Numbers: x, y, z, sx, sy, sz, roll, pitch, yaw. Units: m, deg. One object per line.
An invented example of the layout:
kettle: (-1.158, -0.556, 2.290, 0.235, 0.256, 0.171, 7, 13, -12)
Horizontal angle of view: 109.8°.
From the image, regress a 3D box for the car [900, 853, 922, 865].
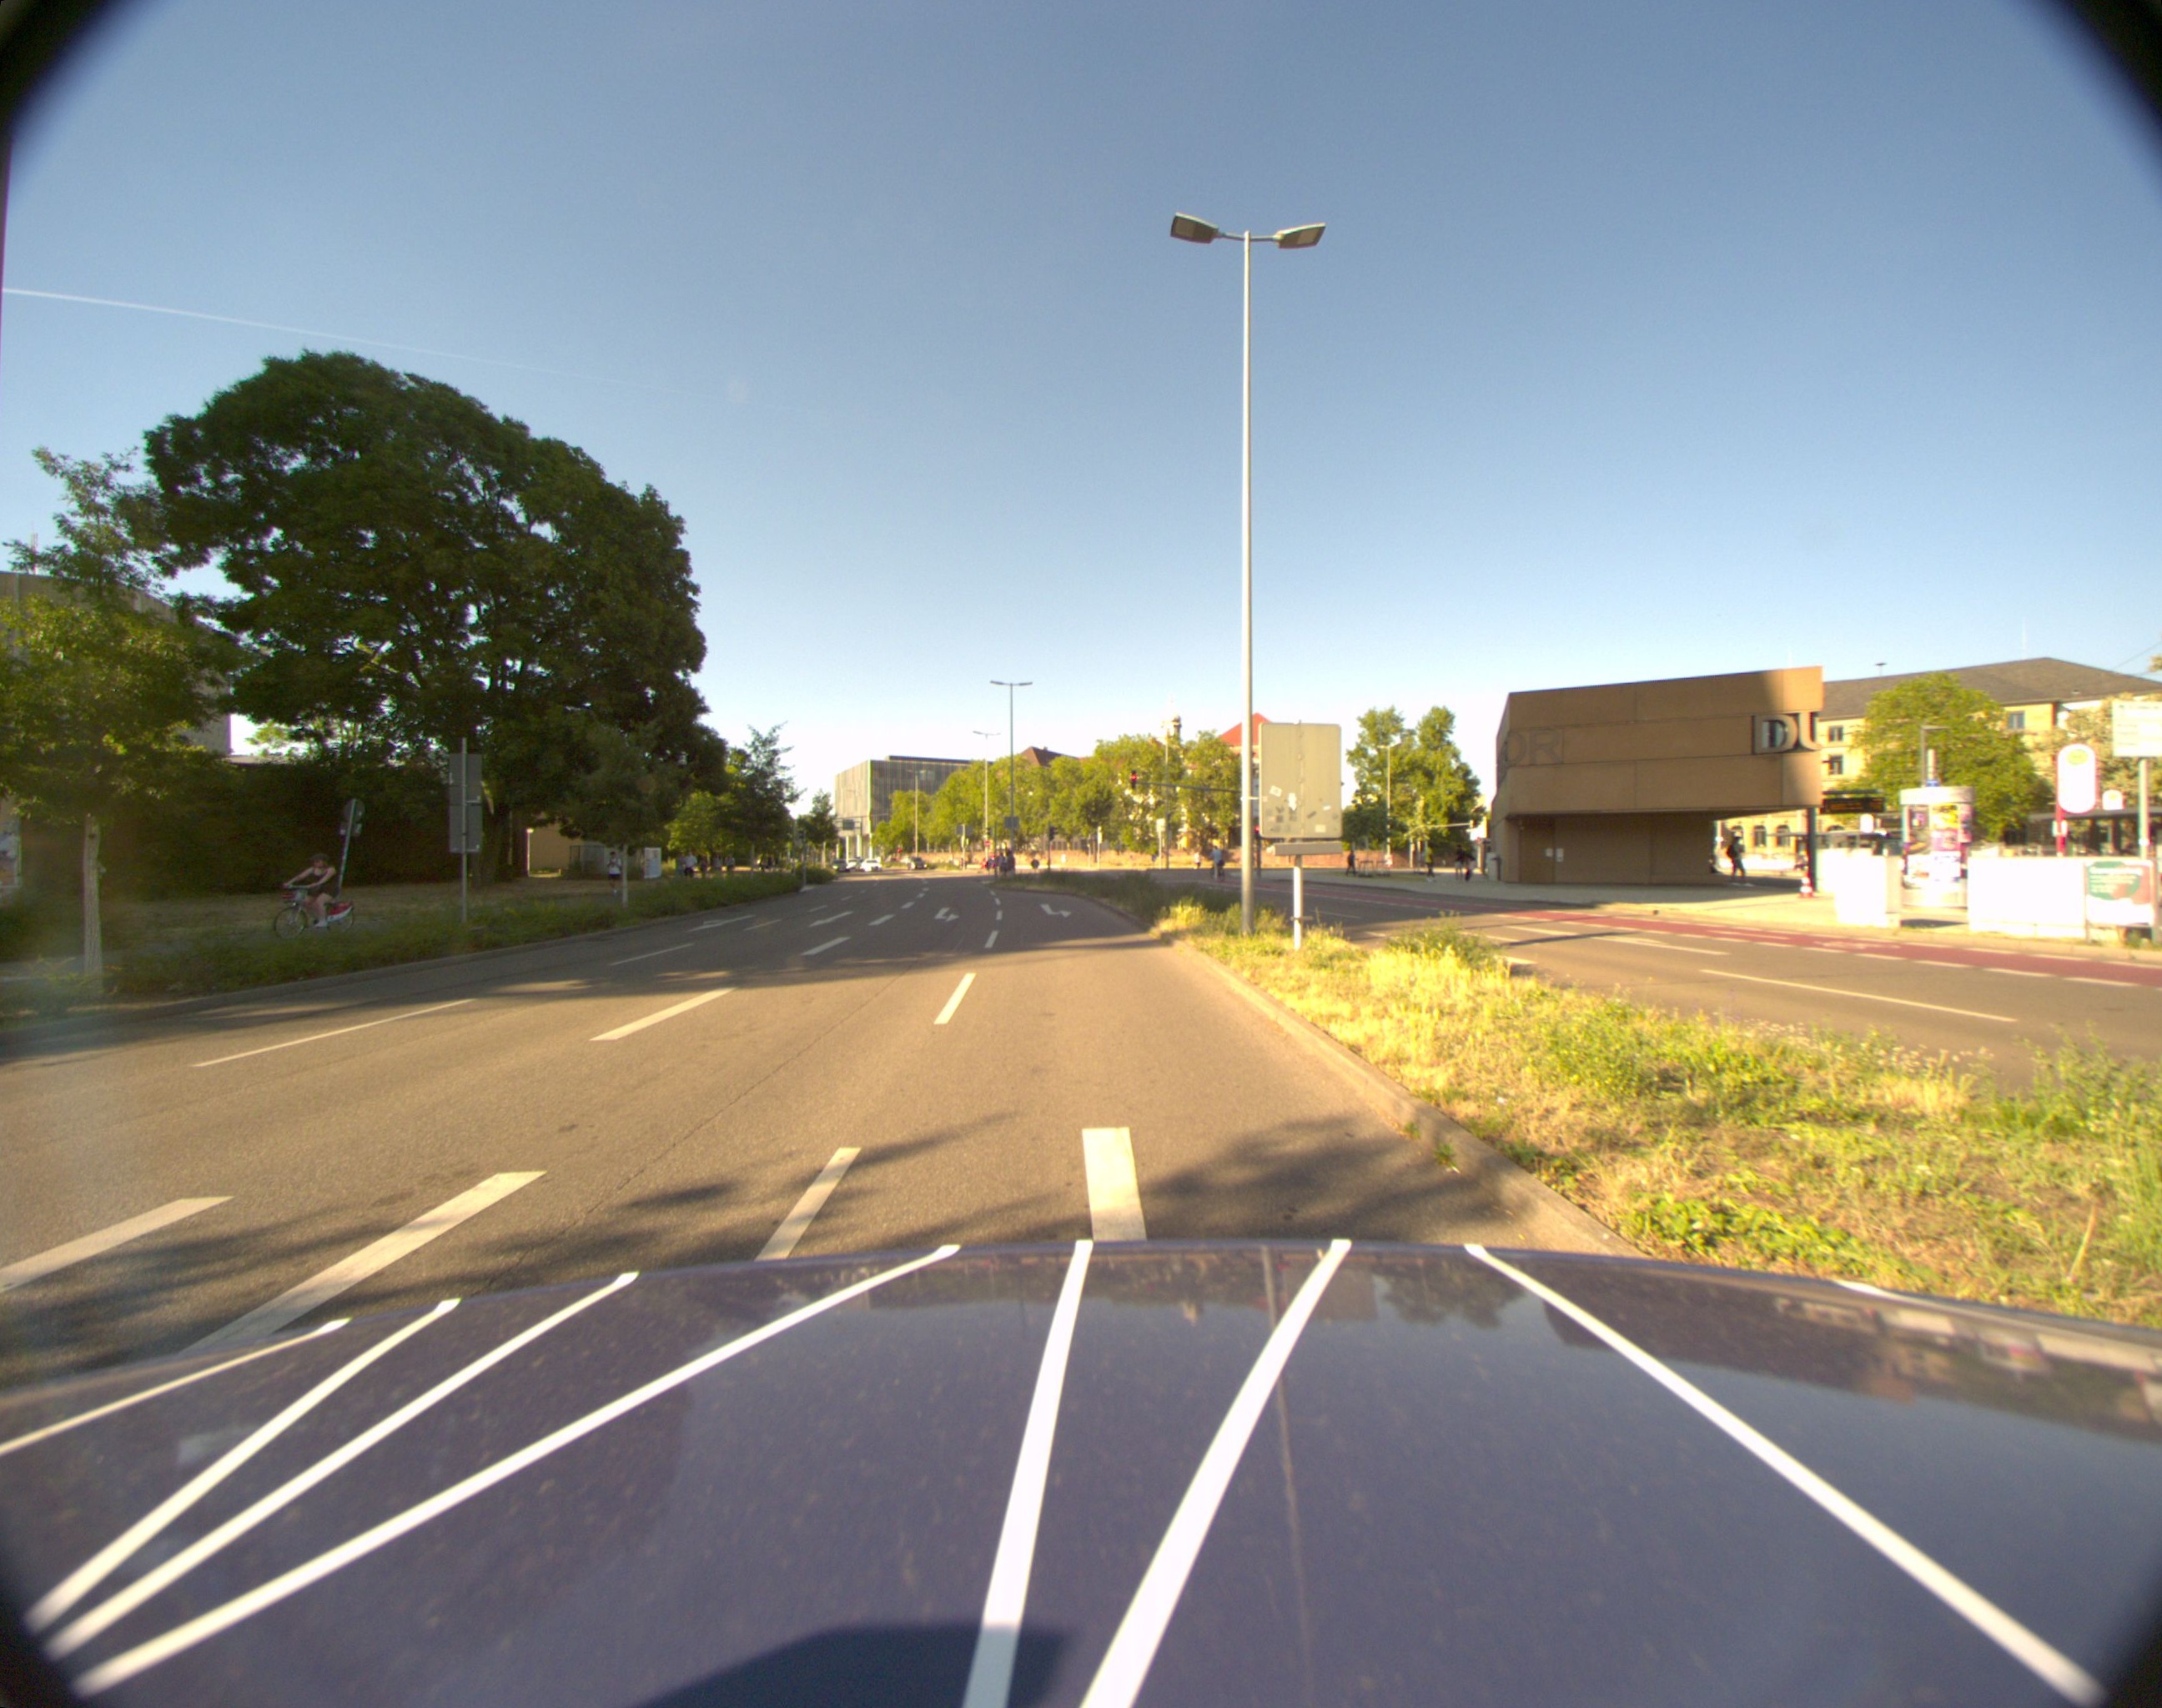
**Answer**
car: (-25.601, 0.763, 114.258, 2.198, 1.674, 4.597, -1, 0, -25)

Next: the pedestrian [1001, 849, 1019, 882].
pedestrian: (-3.860, 0.623, 41.189, 0.928, 1.731, 0.756, -1, 1, -10)

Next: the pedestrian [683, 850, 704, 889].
pedestrian: (-18.551, 0.725, 36.366, 0.575, 1.858, 0.624, 0, 1, 26)

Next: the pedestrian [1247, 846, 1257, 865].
pedestrian: (15.817, 0.144, 70.209, 0.791, 1.644, 0.713, 2, 4, 17)

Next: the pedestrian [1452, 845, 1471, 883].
pedestrian: (17.071, 0.457, 34.105, 0.638, 1.678, 0.551, -2, -1, 14)

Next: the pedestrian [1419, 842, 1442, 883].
pedestrian: (15.996, 0.389, 34.825, 0.718, 1.824, 0.639, -1, -1, 1)

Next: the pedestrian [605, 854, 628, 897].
pedestrian: (-18.508, 0.852, 30.287, 0.623, 1.689, 0.629, 0, 1, -17)

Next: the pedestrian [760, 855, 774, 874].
pedestrian: (-28.410, 0.954, 68.792, 1.020, 1.739, 0.847, 0, 0, -31)

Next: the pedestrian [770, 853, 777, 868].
pedestrian: (-34.612, 0.713, 85.598, 0.713, 1.703, 0.732, 0, 1, -25)

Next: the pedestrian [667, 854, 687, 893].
pedestrian: (-19.285, 0.935, 36.282, 0.575, 1.858, 0.624, 0, 1, 26)

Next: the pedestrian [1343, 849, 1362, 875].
pedestrian: (17.405, 0.492, 48.767, 0.900, 1.675, 0.747, 0, 0, -10)

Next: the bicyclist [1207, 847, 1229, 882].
bicyclist: (7.202, 0.532, 40.029, 0.743, 1.821, 1.012, -1, 1, -18)

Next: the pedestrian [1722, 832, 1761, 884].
pedestrian: (25.464, 0.168, 29.321, 0.978, 1.970, 0.720, 1, 0, 26)

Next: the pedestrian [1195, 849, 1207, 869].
pedestrian: (11.467, 0.473, 72.453, 0.873, 1.884, 0.711, 0, 4, -12)

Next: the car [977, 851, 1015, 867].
car: (-9.250, 0.520, 82.791, 2.199, 1.576, 4.596, -1, -2, -34)

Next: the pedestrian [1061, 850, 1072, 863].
pedestrian: (-1.695, 0.285, 88.881, 0.975, 1.528, 0.921, -1, 1, -25)

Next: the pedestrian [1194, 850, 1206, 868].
pedestrian: (11.207, 0.457, 71.666, 0.873, 1.665, 0.711, 0, 4, -12)

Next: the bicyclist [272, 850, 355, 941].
bicyclist: (-15.611, 0.813, 15.481, 0.717, 1.778, 0.849, -2, 1, -1)

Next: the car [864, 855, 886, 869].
car: (-22.289, 0.836, 82.215, 1.805, 1.510, 4.423, 0, 0, -22)

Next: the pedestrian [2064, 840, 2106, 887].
pedestrian: (42.535, 0.403, 32.191, 0.814, 1.970, 0.756, 1, 0, 28)

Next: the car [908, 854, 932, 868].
car: (-17.751, 0.744, 83.803, 1.927, 1.510, 4.010, 0, 0, -22)

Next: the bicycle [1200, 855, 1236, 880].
bicycle: (7.184, 0.706, 40.108, 0.743, 1.248, 2.552, -1, 1, -18)

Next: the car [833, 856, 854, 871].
car: (-24.949, 0.944, 79.817, 1.805, 1.510, 3.992, 0, 0, -22)

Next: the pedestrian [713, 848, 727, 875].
pedestrian: (-23.004, 0.489, 48.423, 0.677, 1.694, 0.875, -1, 1, -30)

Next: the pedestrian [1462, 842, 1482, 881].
pedestrian: (17.911, 0.346, 34.822, 0.734, 1.720, 0.666, -2, -1, 25)

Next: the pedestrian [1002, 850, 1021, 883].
pedestrian: (-3.689, 0.634, 40.407, 0.928, 1.731, 0.756, -1, 1, -10)

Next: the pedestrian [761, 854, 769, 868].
pedestrian: (-37.060, 0.814, 88.988, 0.764, 1.534, 0.845, 0, 0, -31)

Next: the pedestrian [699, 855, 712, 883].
pedestrian: (-20.889, 0.817, 42.270, 0.623, 1.565, 0.638, 0, 1, -25)

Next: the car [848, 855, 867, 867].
car: (-28.009, 0.880, 95.001, 1.927, 1.510, 4.010, 0, 0, -22)

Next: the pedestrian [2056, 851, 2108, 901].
pedestrian: (40.270, 0.883, 30.587, 0.994, 1.970, 0.830, 1, 0, 28)

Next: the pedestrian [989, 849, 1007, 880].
pedestrian: (-4.652, 0.603, 42.709, 0.928, 1.731, 0.756, -1, 1, -10)

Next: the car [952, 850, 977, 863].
car: (-15.569, 0.386, 101.372, 2.198, 1.576, 4.598, -1, -2, -24)

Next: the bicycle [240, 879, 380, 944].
bicycle: (-15.604, 1.126, 15.466, 0.719, 1.115, 2.066, -2, 1, -1)

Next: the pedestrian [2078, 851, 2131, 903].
pedestrian: (39.239, 0.871, 29.146, 0.978, 1.970, 0.720, 1, 0, 28)

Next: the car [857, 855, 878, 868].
car: (-25.062, 0.883, 88.999, 1.927, 1.510, 4.010, 0, 0, -22)

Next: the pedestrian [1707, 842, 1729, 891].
pedestrian: (26.460, 0.533, 31.571, 0.613, 2.001, 0.809, -2, -1, 37)
